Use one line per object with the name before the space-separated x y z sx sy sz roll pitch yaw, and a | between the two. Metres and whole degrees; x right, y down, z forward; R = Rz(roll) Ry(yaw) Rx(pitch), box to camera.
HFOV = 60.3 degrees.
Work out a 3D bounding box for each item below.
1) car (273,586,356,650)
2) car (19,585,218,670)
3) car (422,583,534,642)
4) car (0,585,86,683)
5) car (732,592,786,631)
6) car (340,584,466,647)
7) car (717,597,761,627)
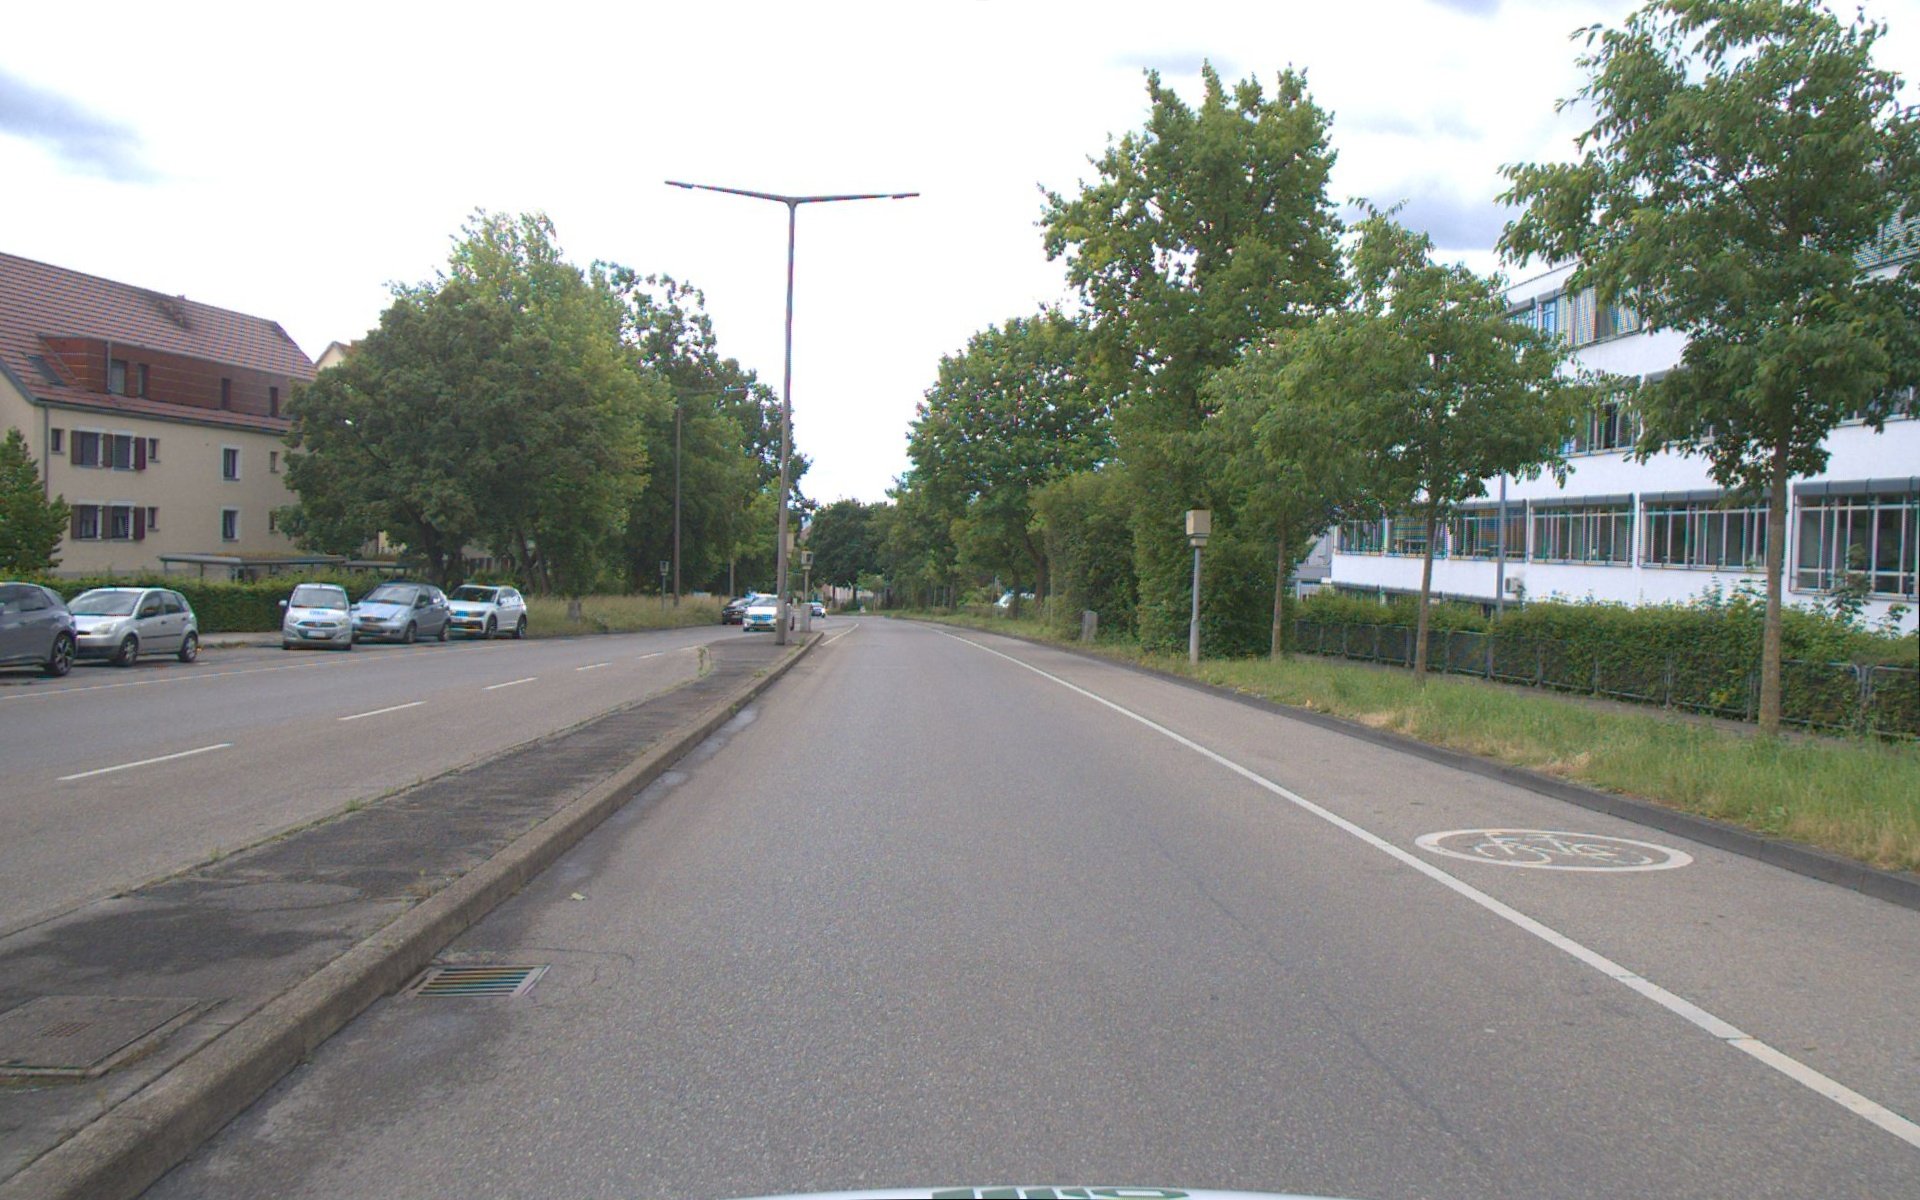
car | -16.139 0.422 41.419 1.848 1.533 3.975 1 0 -21
car | -16.190 0.489 32.052 1.837 1.533 3.999 1 0 -1
car | -14.908 0.420 51.369 1.835 1.696 4.393 1 -1 5
car | -16.080 0.516 26.705 1.837 1.533 3.999 2 0 -2
car | -8.656 0.515 71.599 1.837 1.598 4.338 1 -1 -1
car | -15.494 0.448 46.228 1.836 1.625 4.002 1 -1 5
car | -12.088 0.660 90.603 1.837 1.598 4.649 1 0 -1
